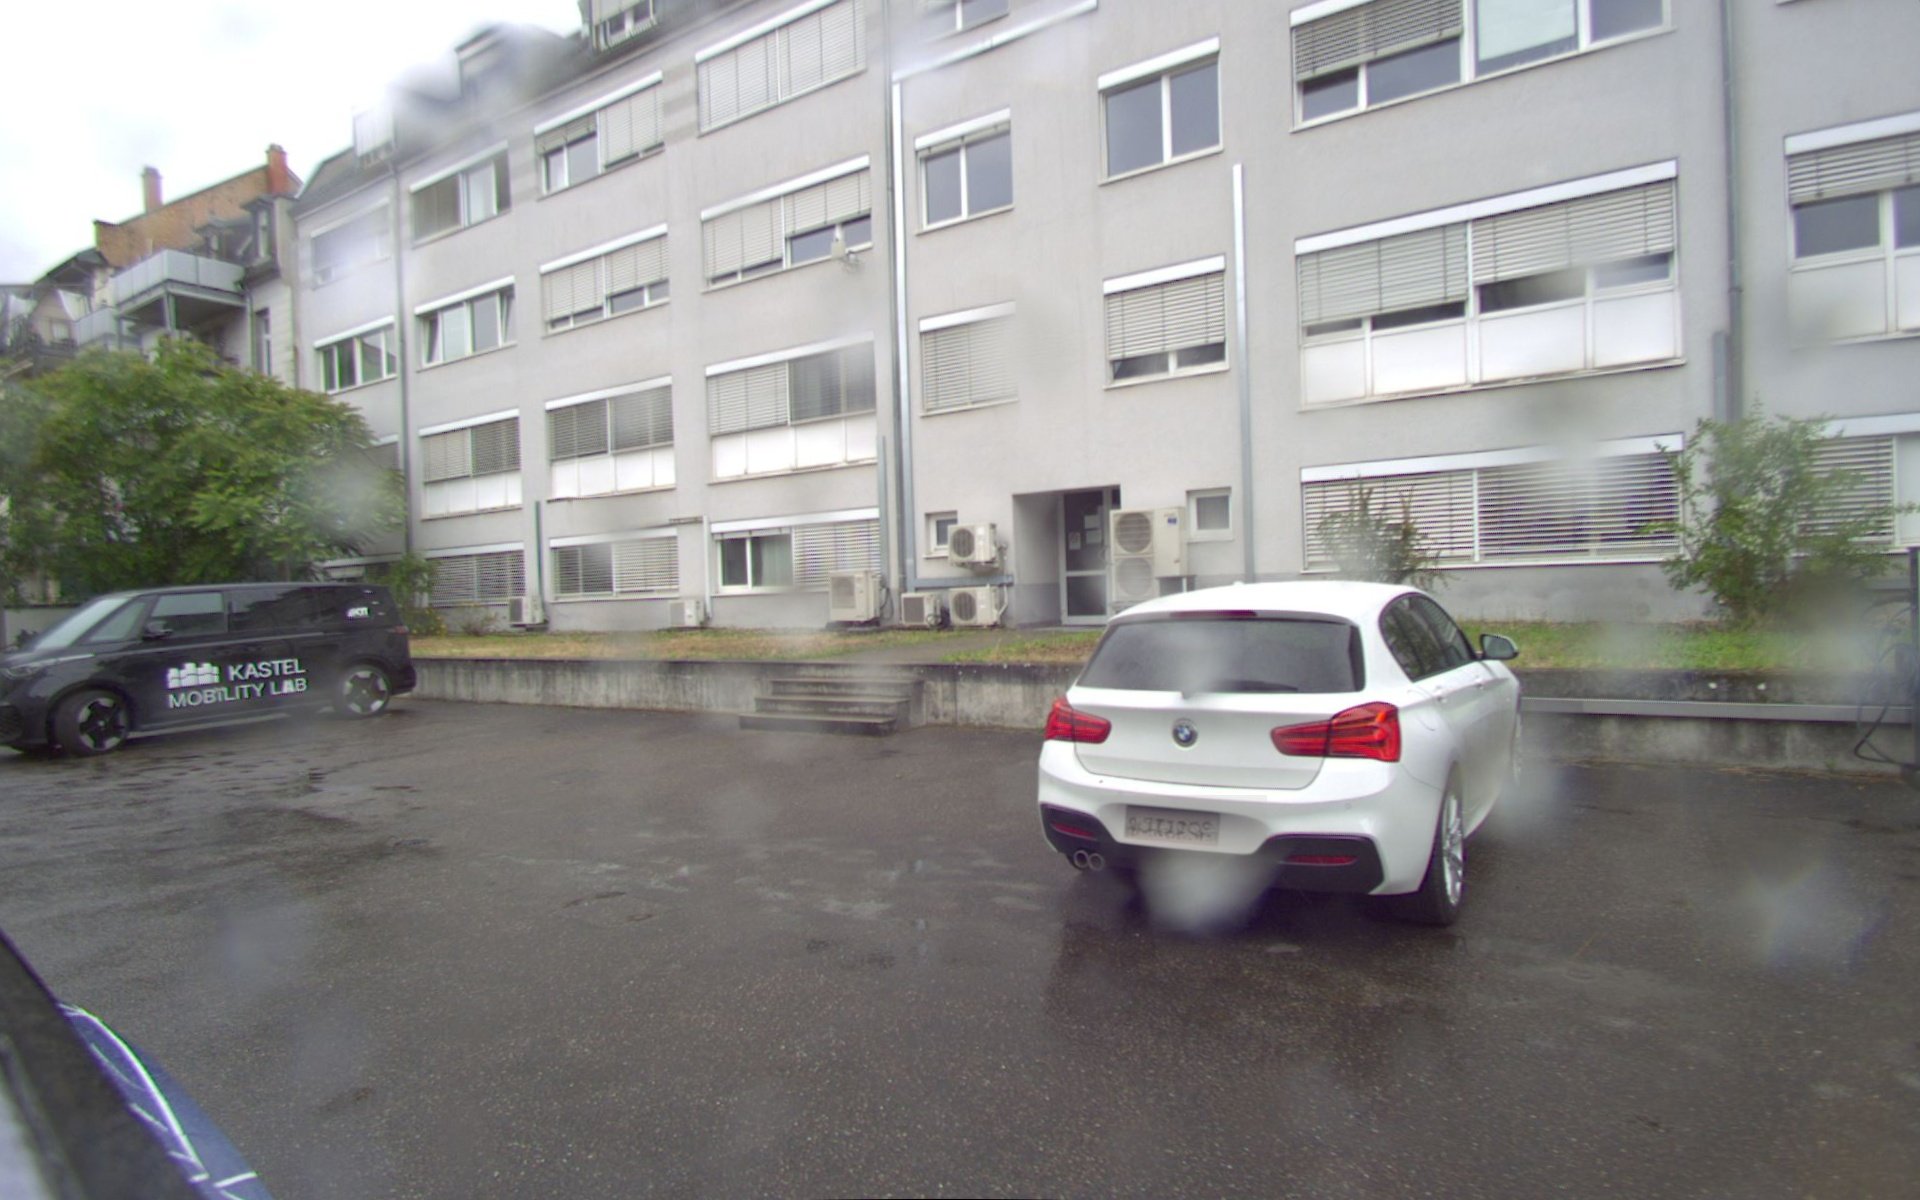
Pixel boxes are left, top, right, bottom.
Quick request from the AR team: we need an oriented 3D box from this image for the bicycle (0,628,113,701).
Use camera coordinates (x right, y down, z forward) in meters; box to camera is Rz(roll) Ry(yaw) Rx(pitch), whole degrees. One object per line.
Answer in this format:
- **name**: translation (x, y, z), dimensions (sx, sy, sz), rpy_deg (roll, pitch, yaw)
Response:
- **bicycle**: translation (-17.041, 1.186, 18.490), dimensions (0.643, 1.195, 2.291), rpy_deg (1, 2, 39)

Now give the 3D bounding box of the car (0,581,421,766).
- **car**: translation (-9.719, 0.774, 12.924), dimensions (1.981, 1.850, 4.582), rpy_deg (-3, 0, 31)

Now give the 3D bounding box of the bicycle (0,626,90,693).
- **bicycle**: translation (-18.441, 1.159, 19.620), dimensions (0.643, 1.195, 2.291), rpy_deg (1, 2, 39)

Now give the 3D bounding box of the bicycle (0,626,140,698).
- **bicycle**: translation (-17.214, 1.159, 19.336), dimensions (0.643, 1.195, 2.291), rpy_deg (1, 2, 39)

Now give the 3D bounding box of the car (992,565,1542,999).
- **car**: translation (2.016, 0.568, 5.566), dimensions (1.749, 1.444, 4.105), rpy_deg (-1, 1, 34)

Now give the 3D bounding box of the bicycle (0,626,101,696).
- **bicycle**: translation (-17.921, 1.167, 19.258), dimensions (0.643, 1.195, 2.291), rpy_deg (1, 2, 39)

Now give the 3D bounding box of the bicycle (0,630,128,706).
- **bicycle**: translation (-16.374, 1.195, 18.046), dimensions (0.643, 1.195, 2.291), rpy_deg (1, 2, 39)
